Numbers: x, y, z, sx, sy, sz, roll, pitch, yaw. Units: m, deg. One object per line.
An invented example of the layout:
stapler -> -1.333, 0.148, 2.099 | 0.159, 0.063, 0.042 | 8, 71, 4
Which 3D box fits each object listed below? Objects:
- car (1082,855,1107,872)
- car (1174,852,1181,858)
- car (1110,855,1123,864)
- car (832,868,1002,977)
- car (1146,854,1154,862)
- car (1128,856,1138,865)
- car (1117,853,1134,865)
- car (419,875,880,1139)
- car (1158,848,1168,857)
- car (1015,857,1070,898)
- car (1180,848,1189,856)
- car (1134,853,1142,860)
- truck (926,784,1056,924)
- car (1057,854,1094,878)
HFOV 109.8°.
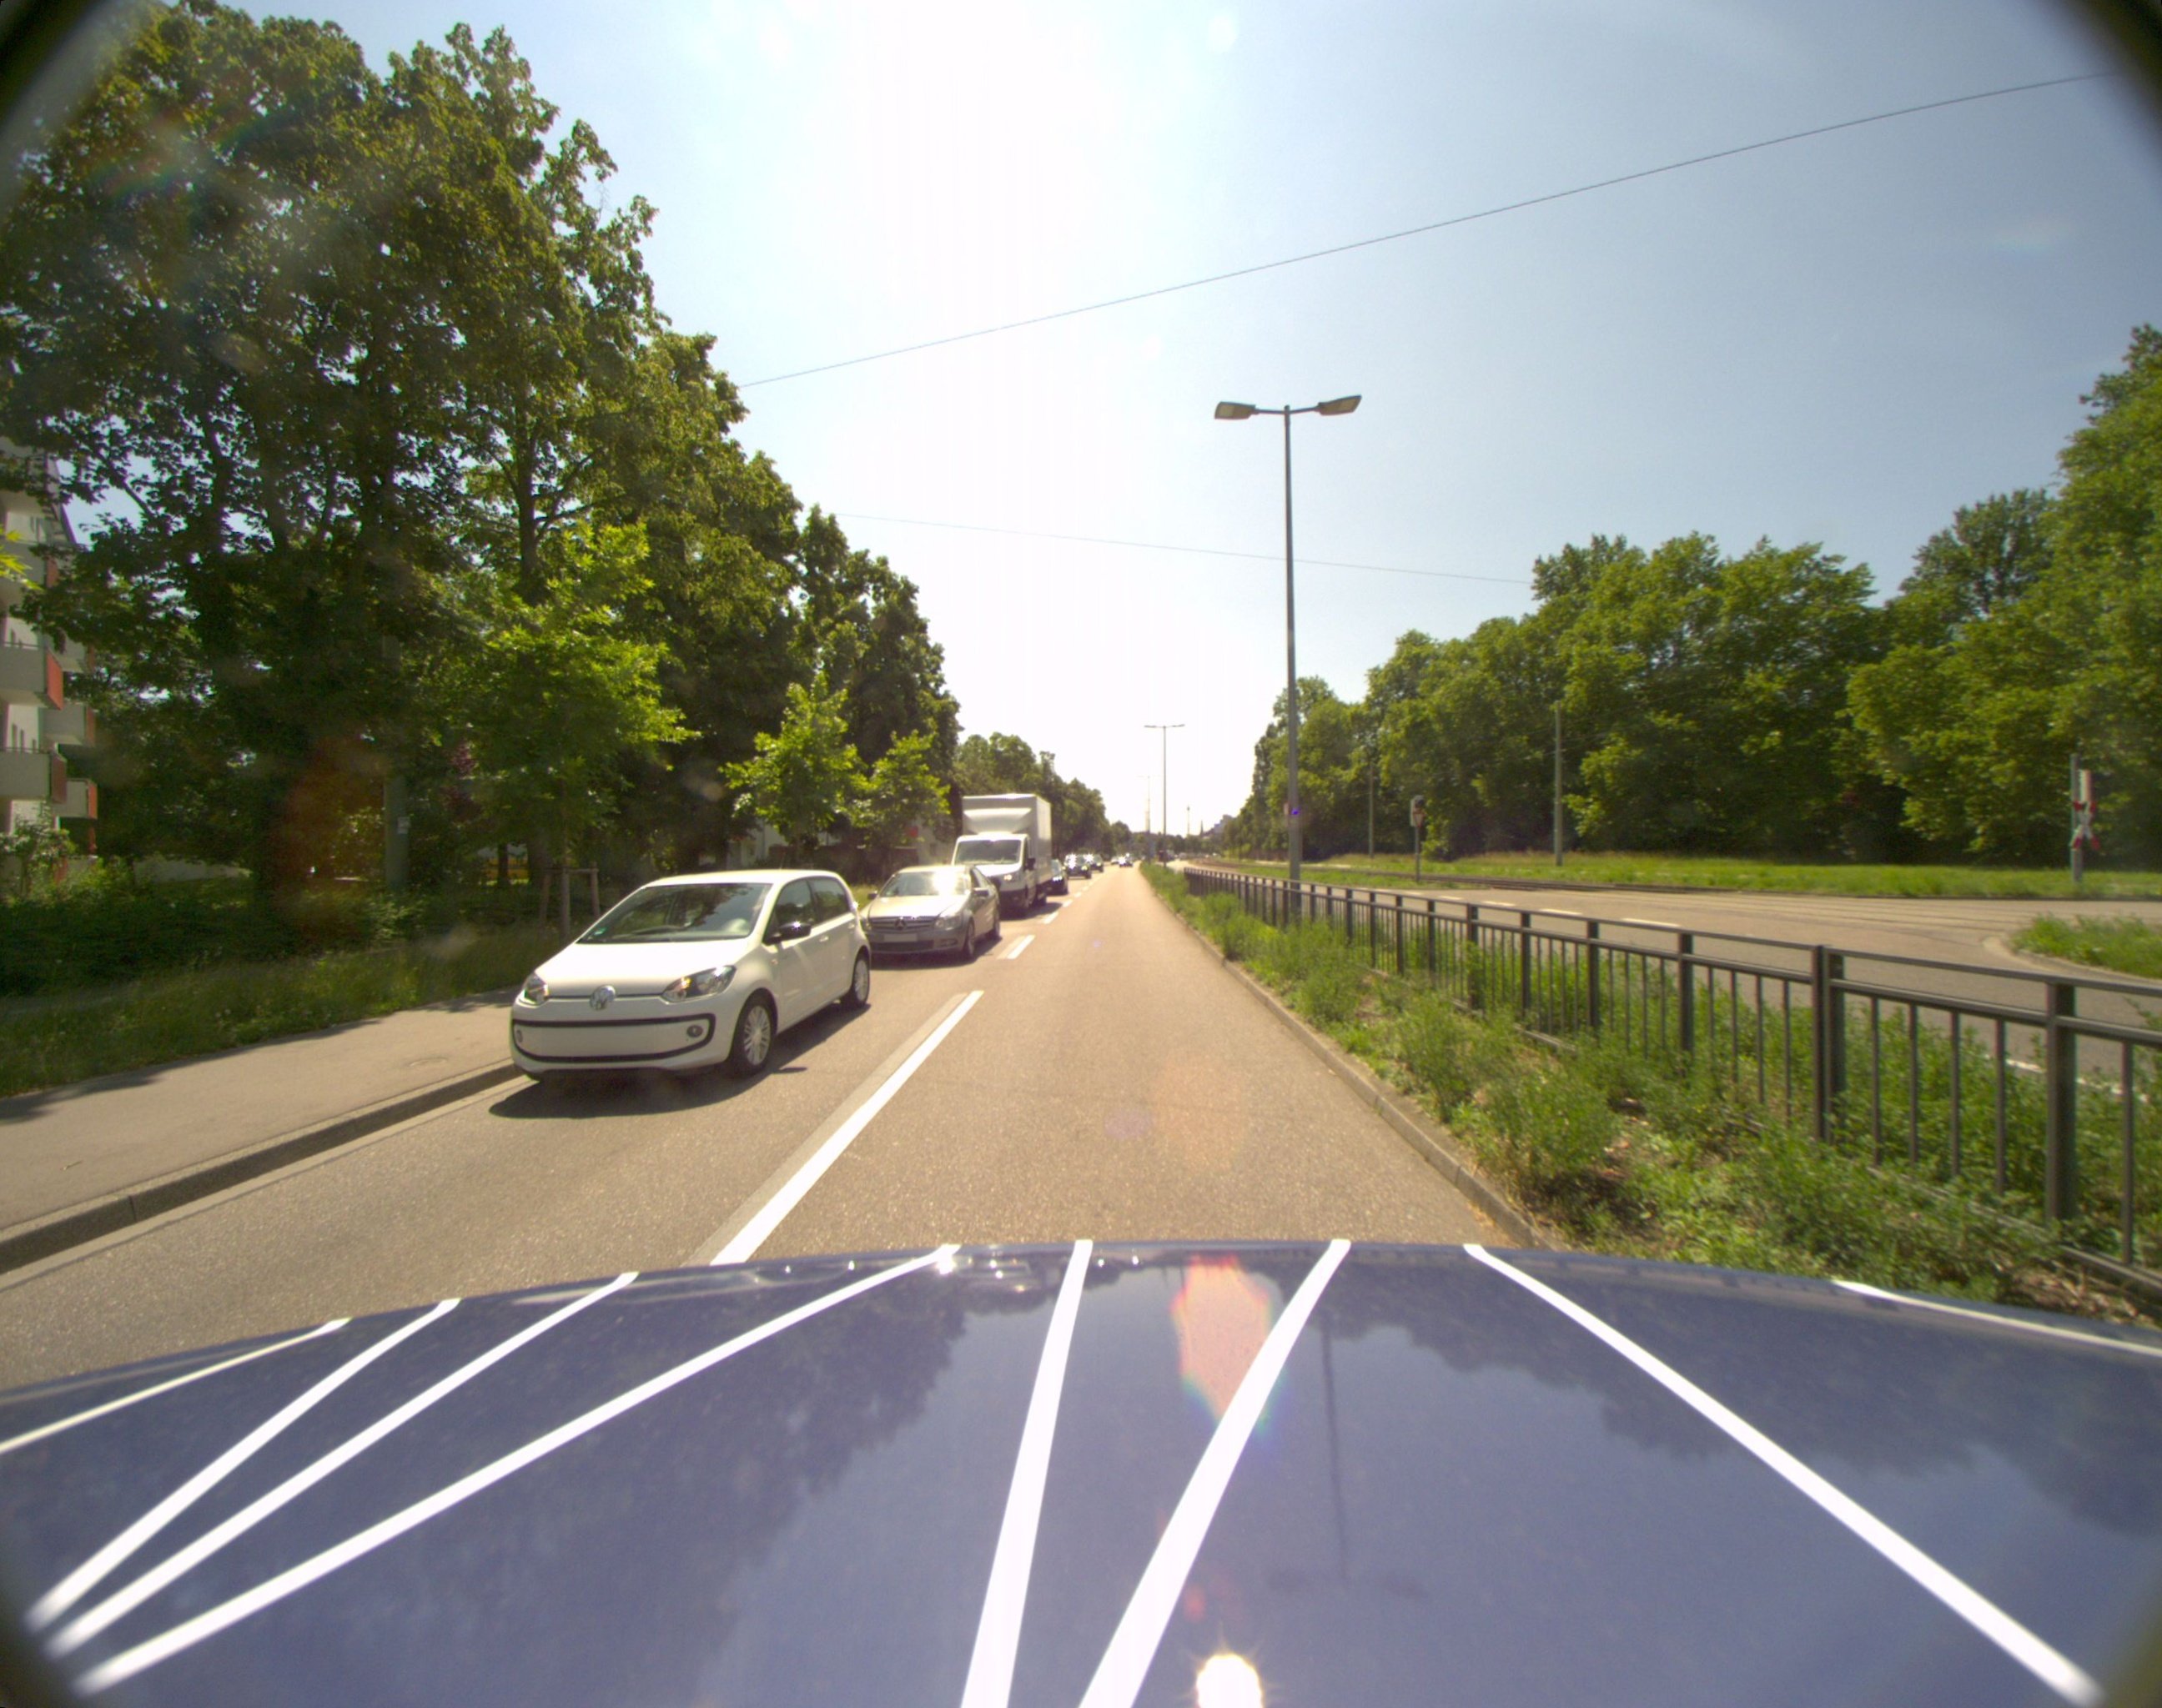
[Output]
car -> 1.323, 0.849, 71.531 | 1.997, 1.499, 4.002 | -1, 0, 7
car -> 27.402, 0.254, 215.821 | 1.998, 1.847, 4.001 | -1, 0, 5
car -> 5.993, 0.924, 129.088 | 1.951, 1.499, 4.002 | -1, 0, 7
car -> -2.472, 0.985, 12.534 | 1.840, 1.400, 4.087 | -1, 0, 1
car -> 17.091, 0.956, 189.133 | 1.998, 1.847, 4.001 | -1, 0, 5
car -> 11.404, 1.433, 166.562 | 1.998, 1.847, 4.001 | -1, 0, 5
car -> 5.818, 0.673, 99.640 | 1.997, 1.499, 4.002 | -1, 0, 7
car -> -3.124, 0.987, 6.513 | 1.730, 1.470, 3.771 | -1, 0, 1
car -> 16.549, -0.289, 153.947 | 1.997, 1.847, 4.002 | -1, 0, 7
car -> -1.502, 0.913, 31.448 | 1.998, 1.499, 4.000 | -1, 0, 1
car -> 27.316, -0.520, 200.747 | 1.998, 1.847, 4.001 | -1, 0, 5
car -> 15.964, 0.734, 212.336 | 1.998, 1.847, 4.001 | -1, 0, 5
truck -> -2.296, -0.009, 22.273 | 2.433, 3.326, 7.923 | -1, 0, 3
car -> -0.310, 0.789, 51.704 | 1.997, 1.499, 4.002 | -1, 0, 7
